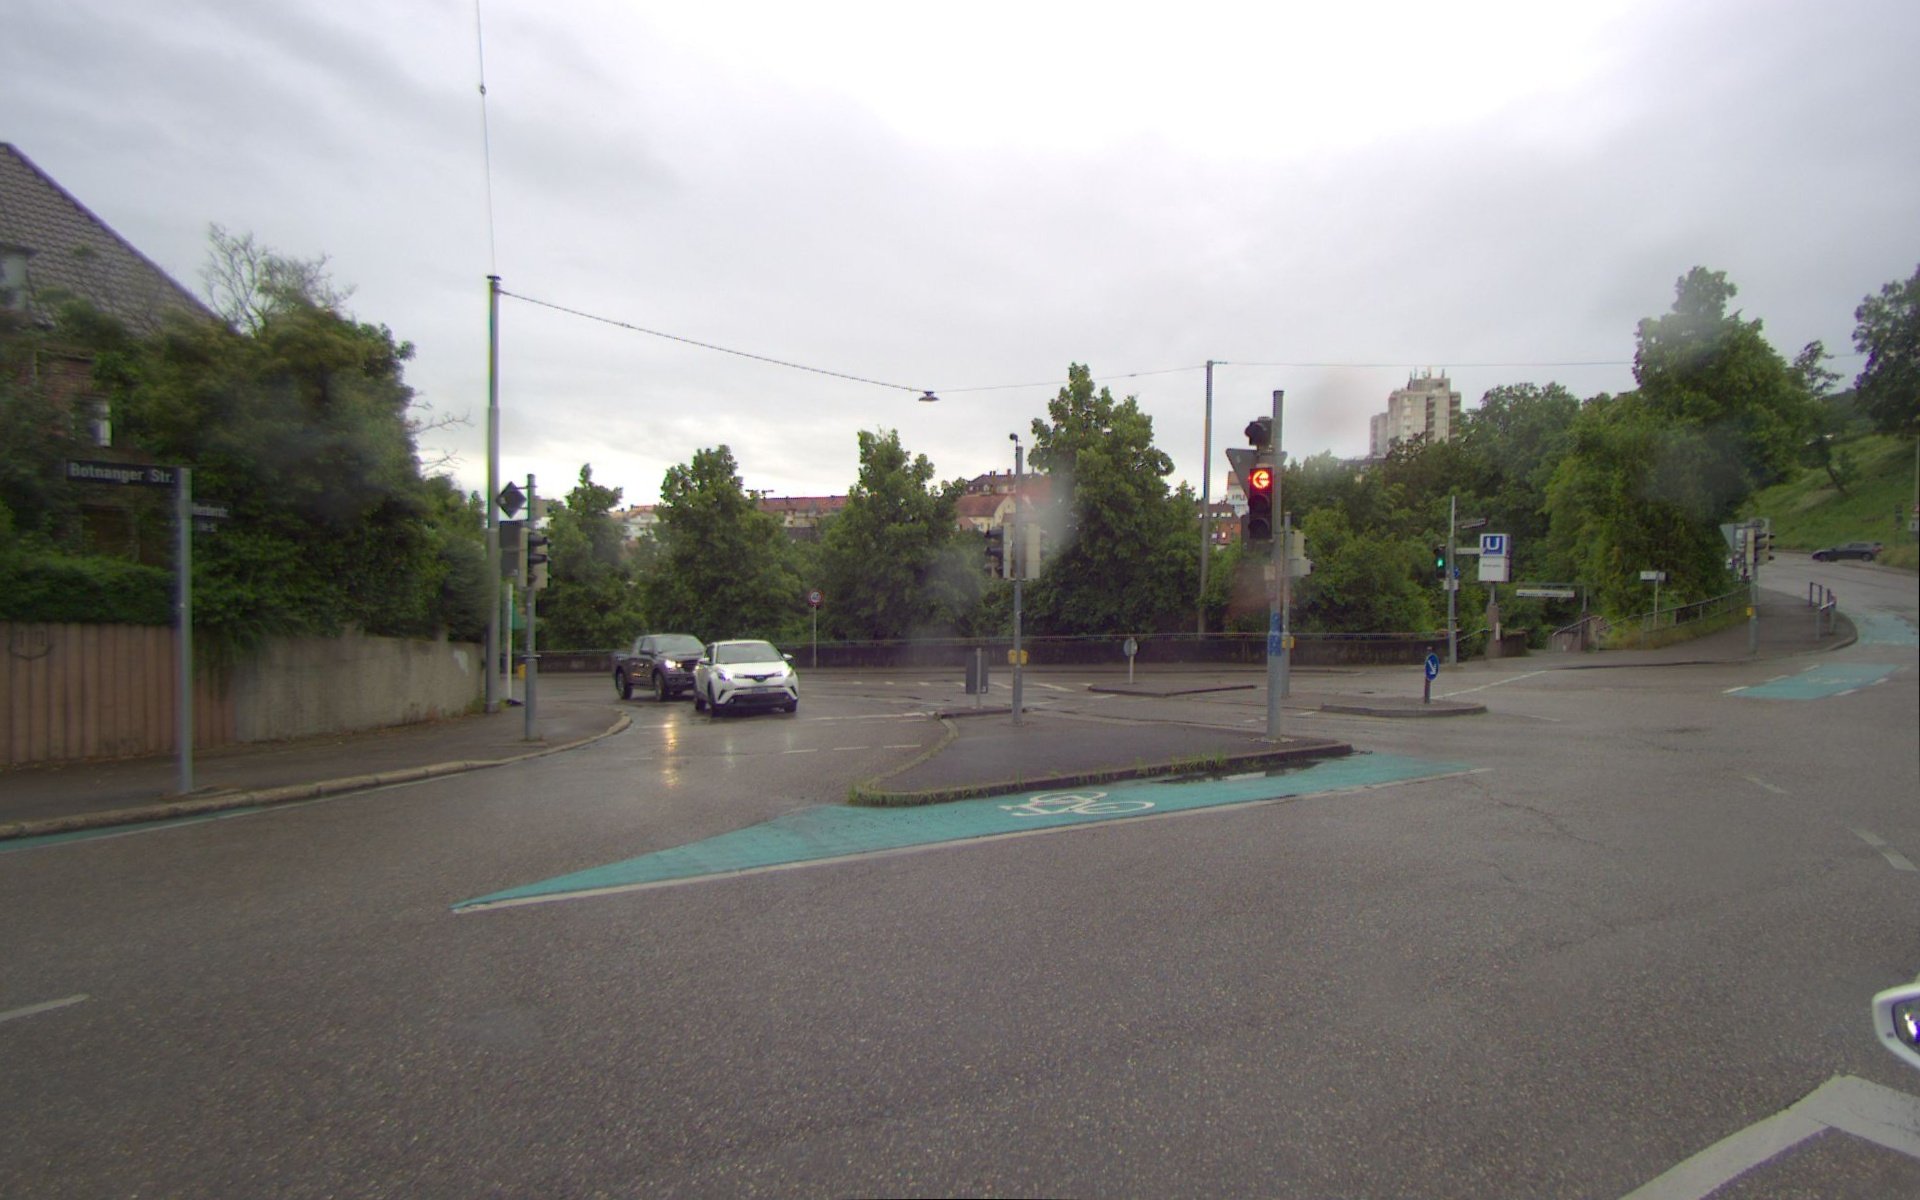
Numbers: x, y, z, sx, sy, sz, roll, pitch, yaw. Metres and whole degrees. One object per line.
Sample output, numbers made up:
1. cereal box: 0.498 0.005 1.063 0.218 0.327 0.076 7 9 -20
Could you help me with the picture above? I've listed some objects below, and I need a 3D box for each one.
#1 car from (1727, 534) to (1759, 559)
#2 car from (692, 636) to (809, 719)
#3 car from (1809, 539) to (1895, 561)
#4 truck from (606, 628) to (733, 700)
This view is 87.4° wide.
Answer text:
1. car: 71.343 -4.815 91.483 2.042 2.033 4.790 1 1 41
2. car: -4.592 1.629 21.625 1.810 1.527 3.866 -2 -2 -21
3. car: 66.145 -3.687 74.559 1.936 1.532 4.375 -2 3 -25
4. truck: -8.446 1.862 28.923 1.890 1.809 4.940 -2 -3 -36
